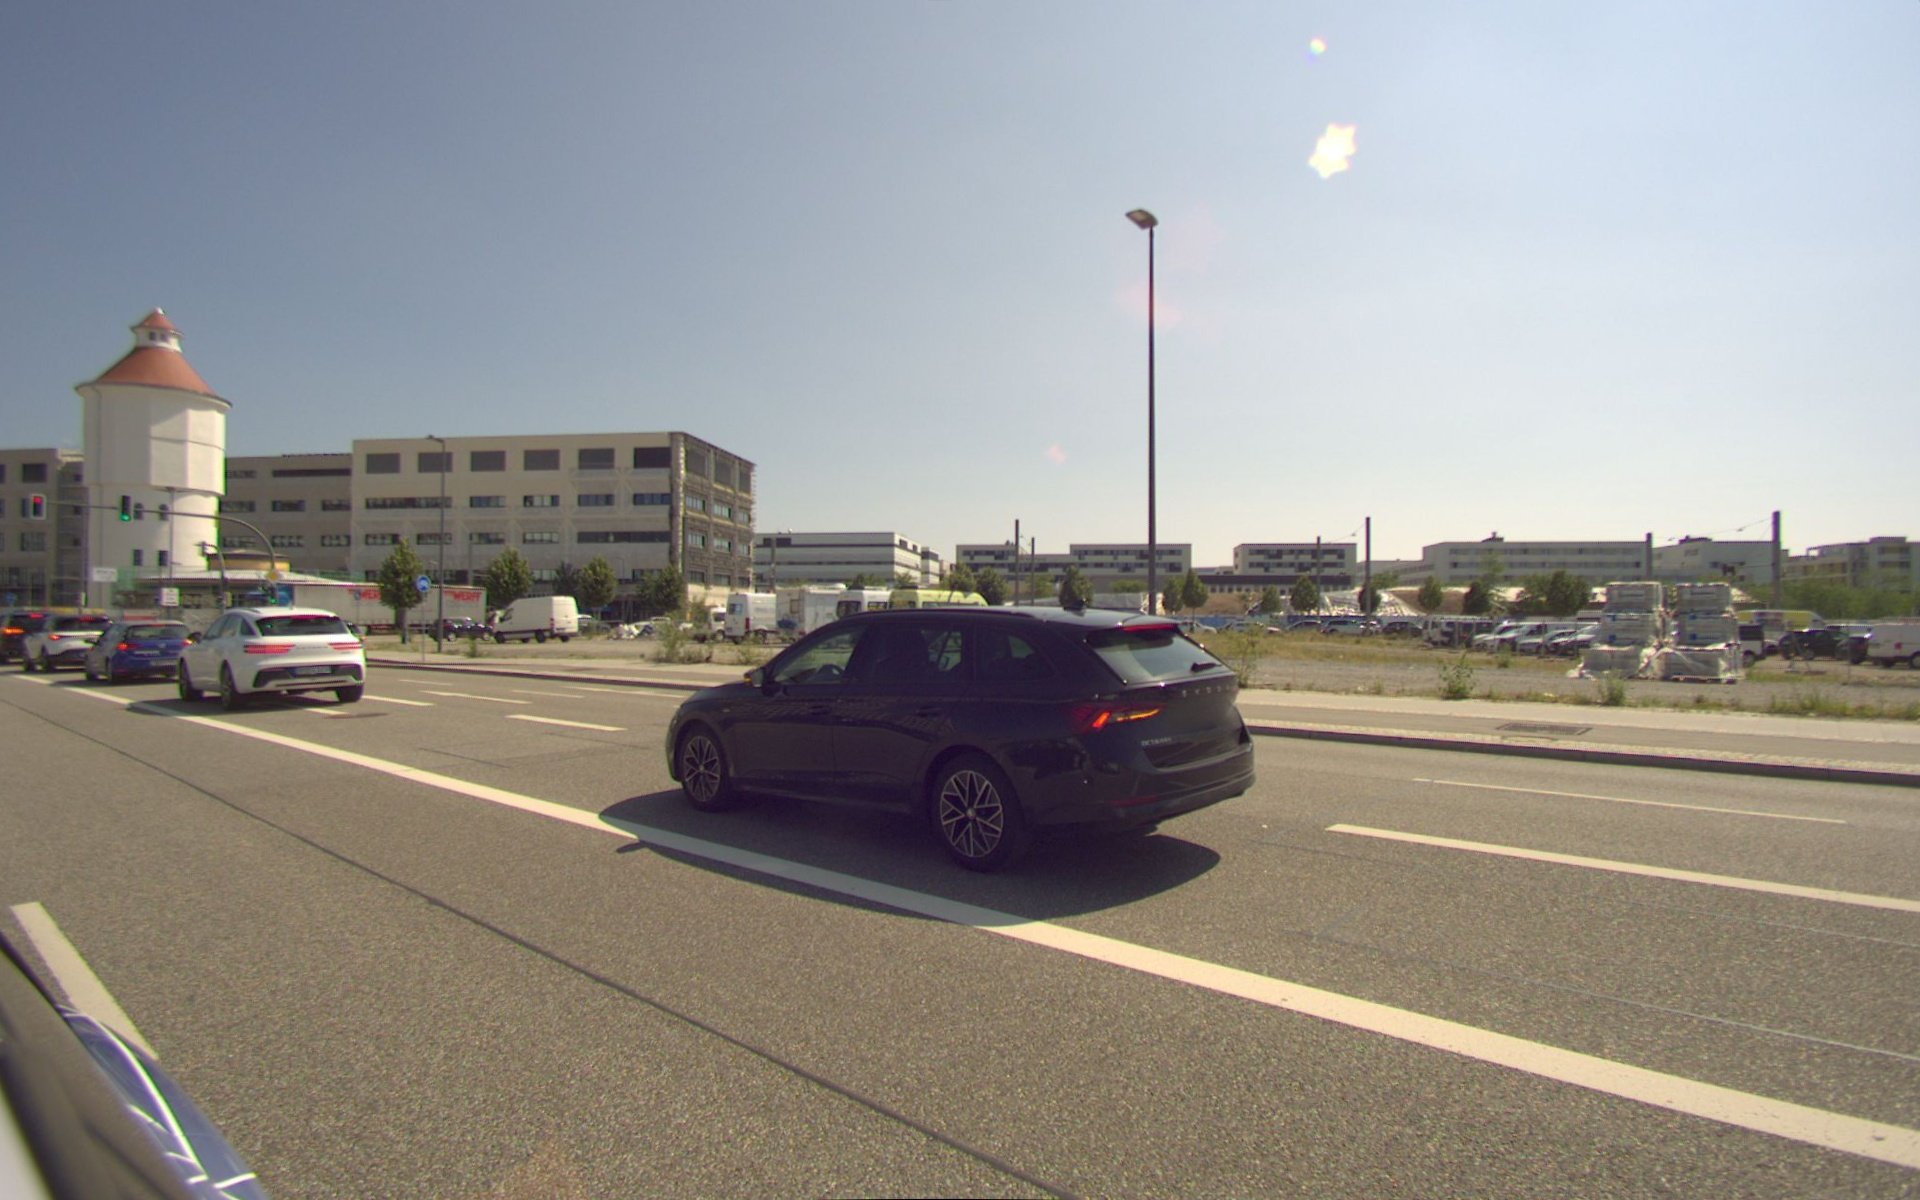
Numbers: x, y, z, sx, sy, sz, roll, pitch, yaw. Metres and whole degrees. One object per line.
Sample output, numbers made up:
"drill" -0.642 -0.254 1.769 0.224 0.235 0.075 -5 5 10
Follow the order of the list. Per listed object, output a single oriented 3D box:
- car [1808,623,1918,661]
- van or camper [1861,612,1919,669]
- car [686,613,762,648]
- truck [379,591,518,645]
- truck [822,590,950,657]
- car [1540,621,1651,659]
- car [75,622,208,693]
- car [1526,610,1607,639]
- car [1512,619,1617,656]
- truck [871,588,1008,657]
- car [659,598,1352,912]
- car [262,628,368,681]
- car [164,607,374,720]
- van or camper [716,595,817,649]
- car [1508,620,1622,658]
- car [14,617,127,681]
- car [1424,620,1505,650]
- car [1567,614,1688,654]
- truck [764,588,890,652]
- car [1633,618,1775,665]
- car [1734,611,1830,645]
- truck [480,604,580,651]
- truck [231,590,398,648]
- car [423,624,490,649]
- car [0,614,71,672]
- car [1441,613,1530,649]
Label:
"car" 48.990 2.255 55.006 3.953 2.029 1.995 0 -2 8
"van or camper" 42.255 1.692 43.512 4.881 2.301 1.995 -1 1 9
"car" -12.807 1.651 55.054 1.655 1.771 3.830 -2 -1 37
"truck" -44.273 1.434 88.145 3.331 4.307 10.840 0 1 29
"truck" -3.326 0.990 46.917 2.570 2.845 5.773 0 1 42
"car" 34.073 2.128 54.371 4.601 1.985 1.994 0 -2 9
"car" -19.283 1.284 23.779 4.280 1.432 1.767 0 0 41
"car" 42.325 1.701 70.681 4.430 1.985 1.834 0 -2 9
"car" 33.936 2.094 56.941 4.601 1.985 1.994 0 -2 9
"truck" -0.779 0.936 45.119 2.598 2.847 6.574 -1 -1 37
"car" -0.003 0.735 6.775 4.571 1.408 1.768 -1 -1 43
"car" -20.302 1.665 31.822 3.597 1.425 1.874 0 1 41
"car" -12.043 0.992 17.511 4.728 1.662 1.893 -1 0 41
"van or camper" -10.101 1.114 53.086 2.258 2.682 4.849 -2 -1 41
"car" 35.344 2.290 59.253 5.335 1.985 1.995 -2 0 9
"car" -25.576 1.367 29.053 4.094 1.695 1.761 -2 -2 39
"car" 35.432 2.476 71.210 4.601 1.985 1.995 -1 -1 9
"car" 33.524 1.706 50.968 4.601 1.985 1.994 0 -2 9
"truck" -6.575 0.904 50.677 2.570 2.923 6.080 0 1 42
"car" 32.940 1.823 44.924 4.601 2.029 1.994 0 -2 9
"car" 49.453 1.681 60.935 3.952 2.029 1.996 0 -2 7
"truck" -25.448 1.608 59.863 5.914 2.675 2.154 0 -1 26
"truck" -49.308 1.281 77.820 3.281 4.098 10.895 0 1 23
"car" -35.353 2.545 71.126 1.871 1.652 3.965 -1 -1 26
"car" -31.612 1.429 33.957 4.650 1.802 1.921 -2 -1 39
"car" 33.943 1.984 65.516 4.601 1.984 1.995 -3 1 9
